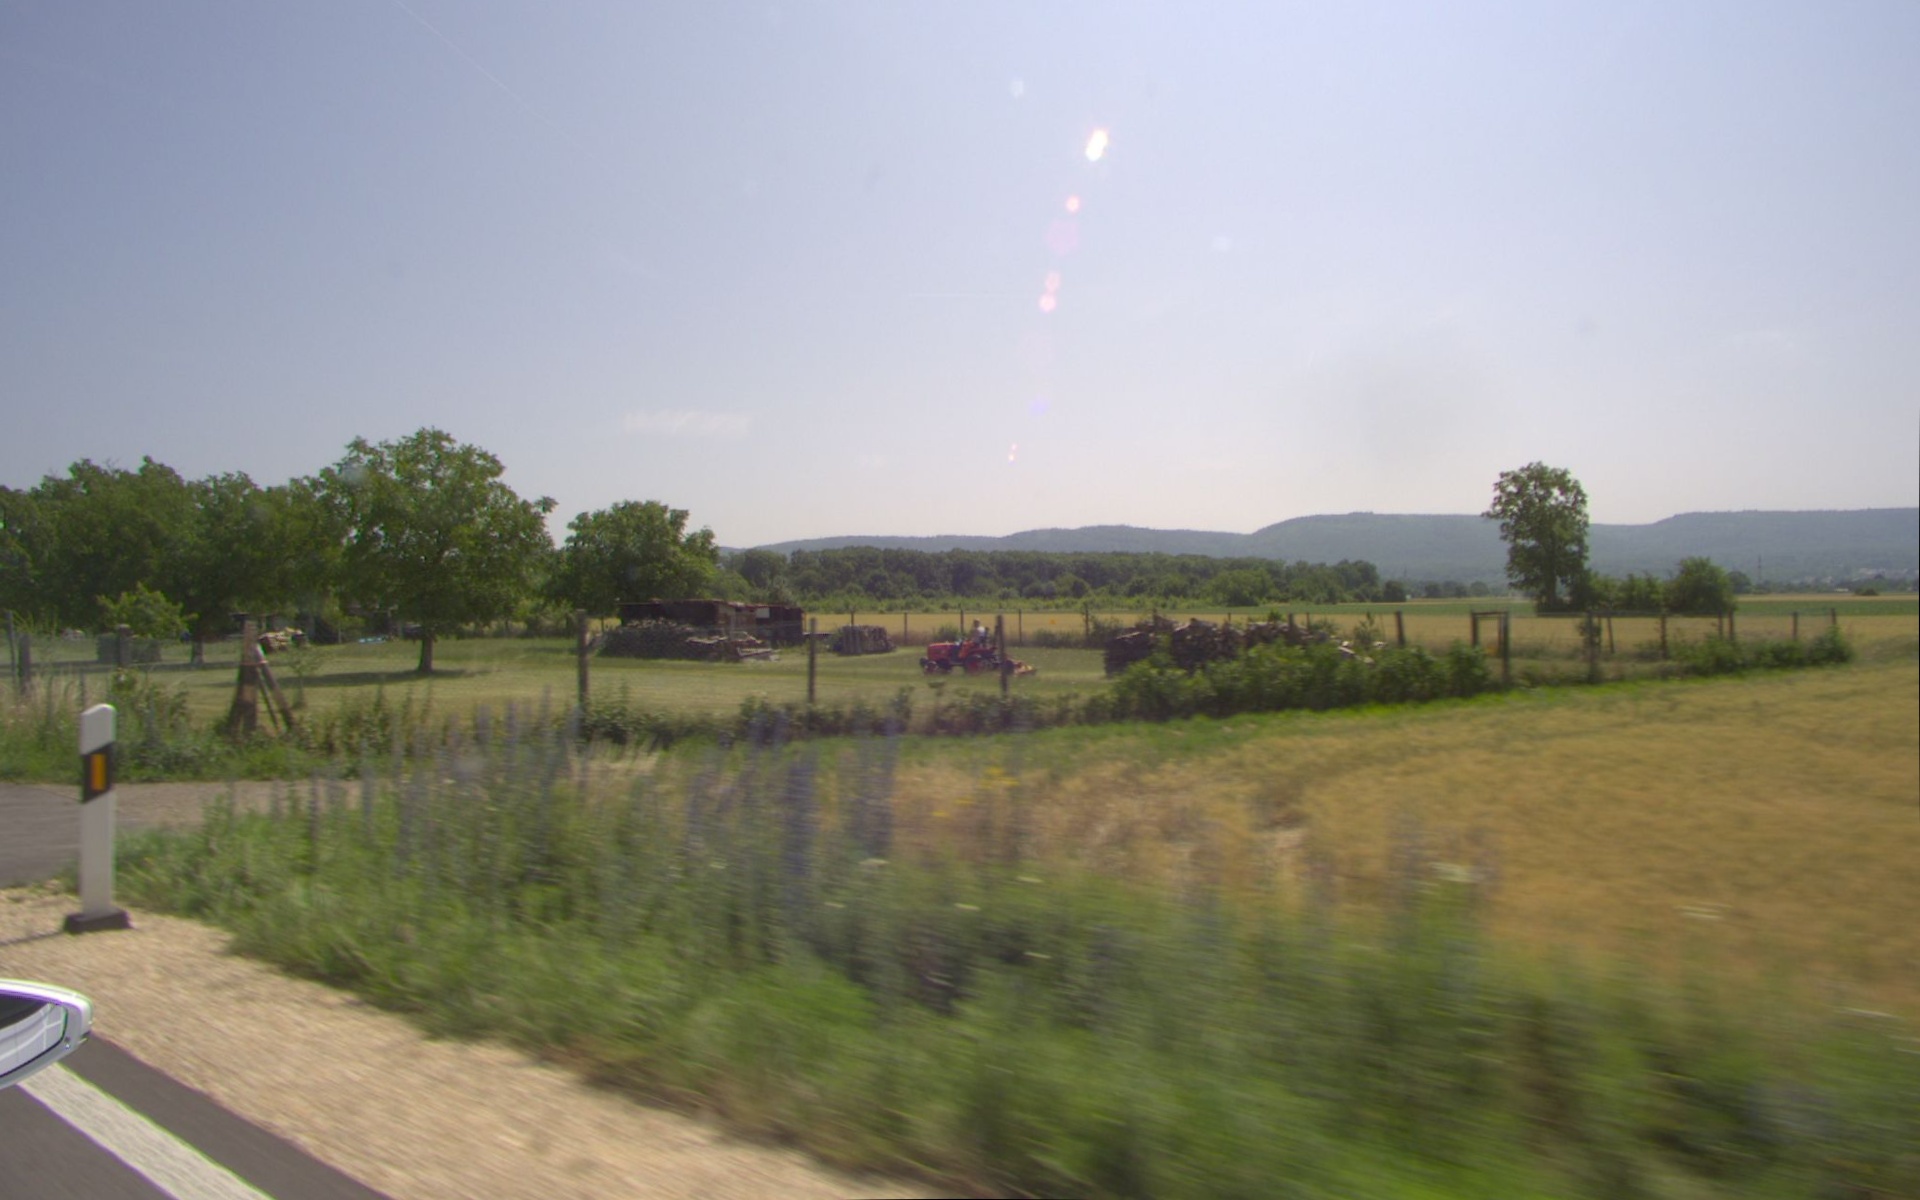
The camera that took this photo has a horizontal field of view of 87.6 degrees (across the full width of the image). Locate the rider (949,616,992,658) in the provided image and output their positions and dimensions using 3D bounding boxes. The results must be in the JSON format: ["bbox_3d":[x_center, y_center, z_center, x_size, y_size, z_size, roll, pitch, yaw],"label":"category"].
[{"bbox_3d":[0.324,1.128,30.759,0.970,1.233,1.024,-1,0,26],"label":"rider"}]

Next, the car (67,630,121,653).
[{"bbox_3d":[-61.078,2.887,70.619,3.371,1.506,1.593,0,0,25],"label":"car"}]

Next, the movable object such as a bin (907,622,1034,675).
[{"bbox_3d":[0.317,1.463,30.877,3.602,1.516,1.569,-1,0,28],"label":"movable object such as a bin"}]
